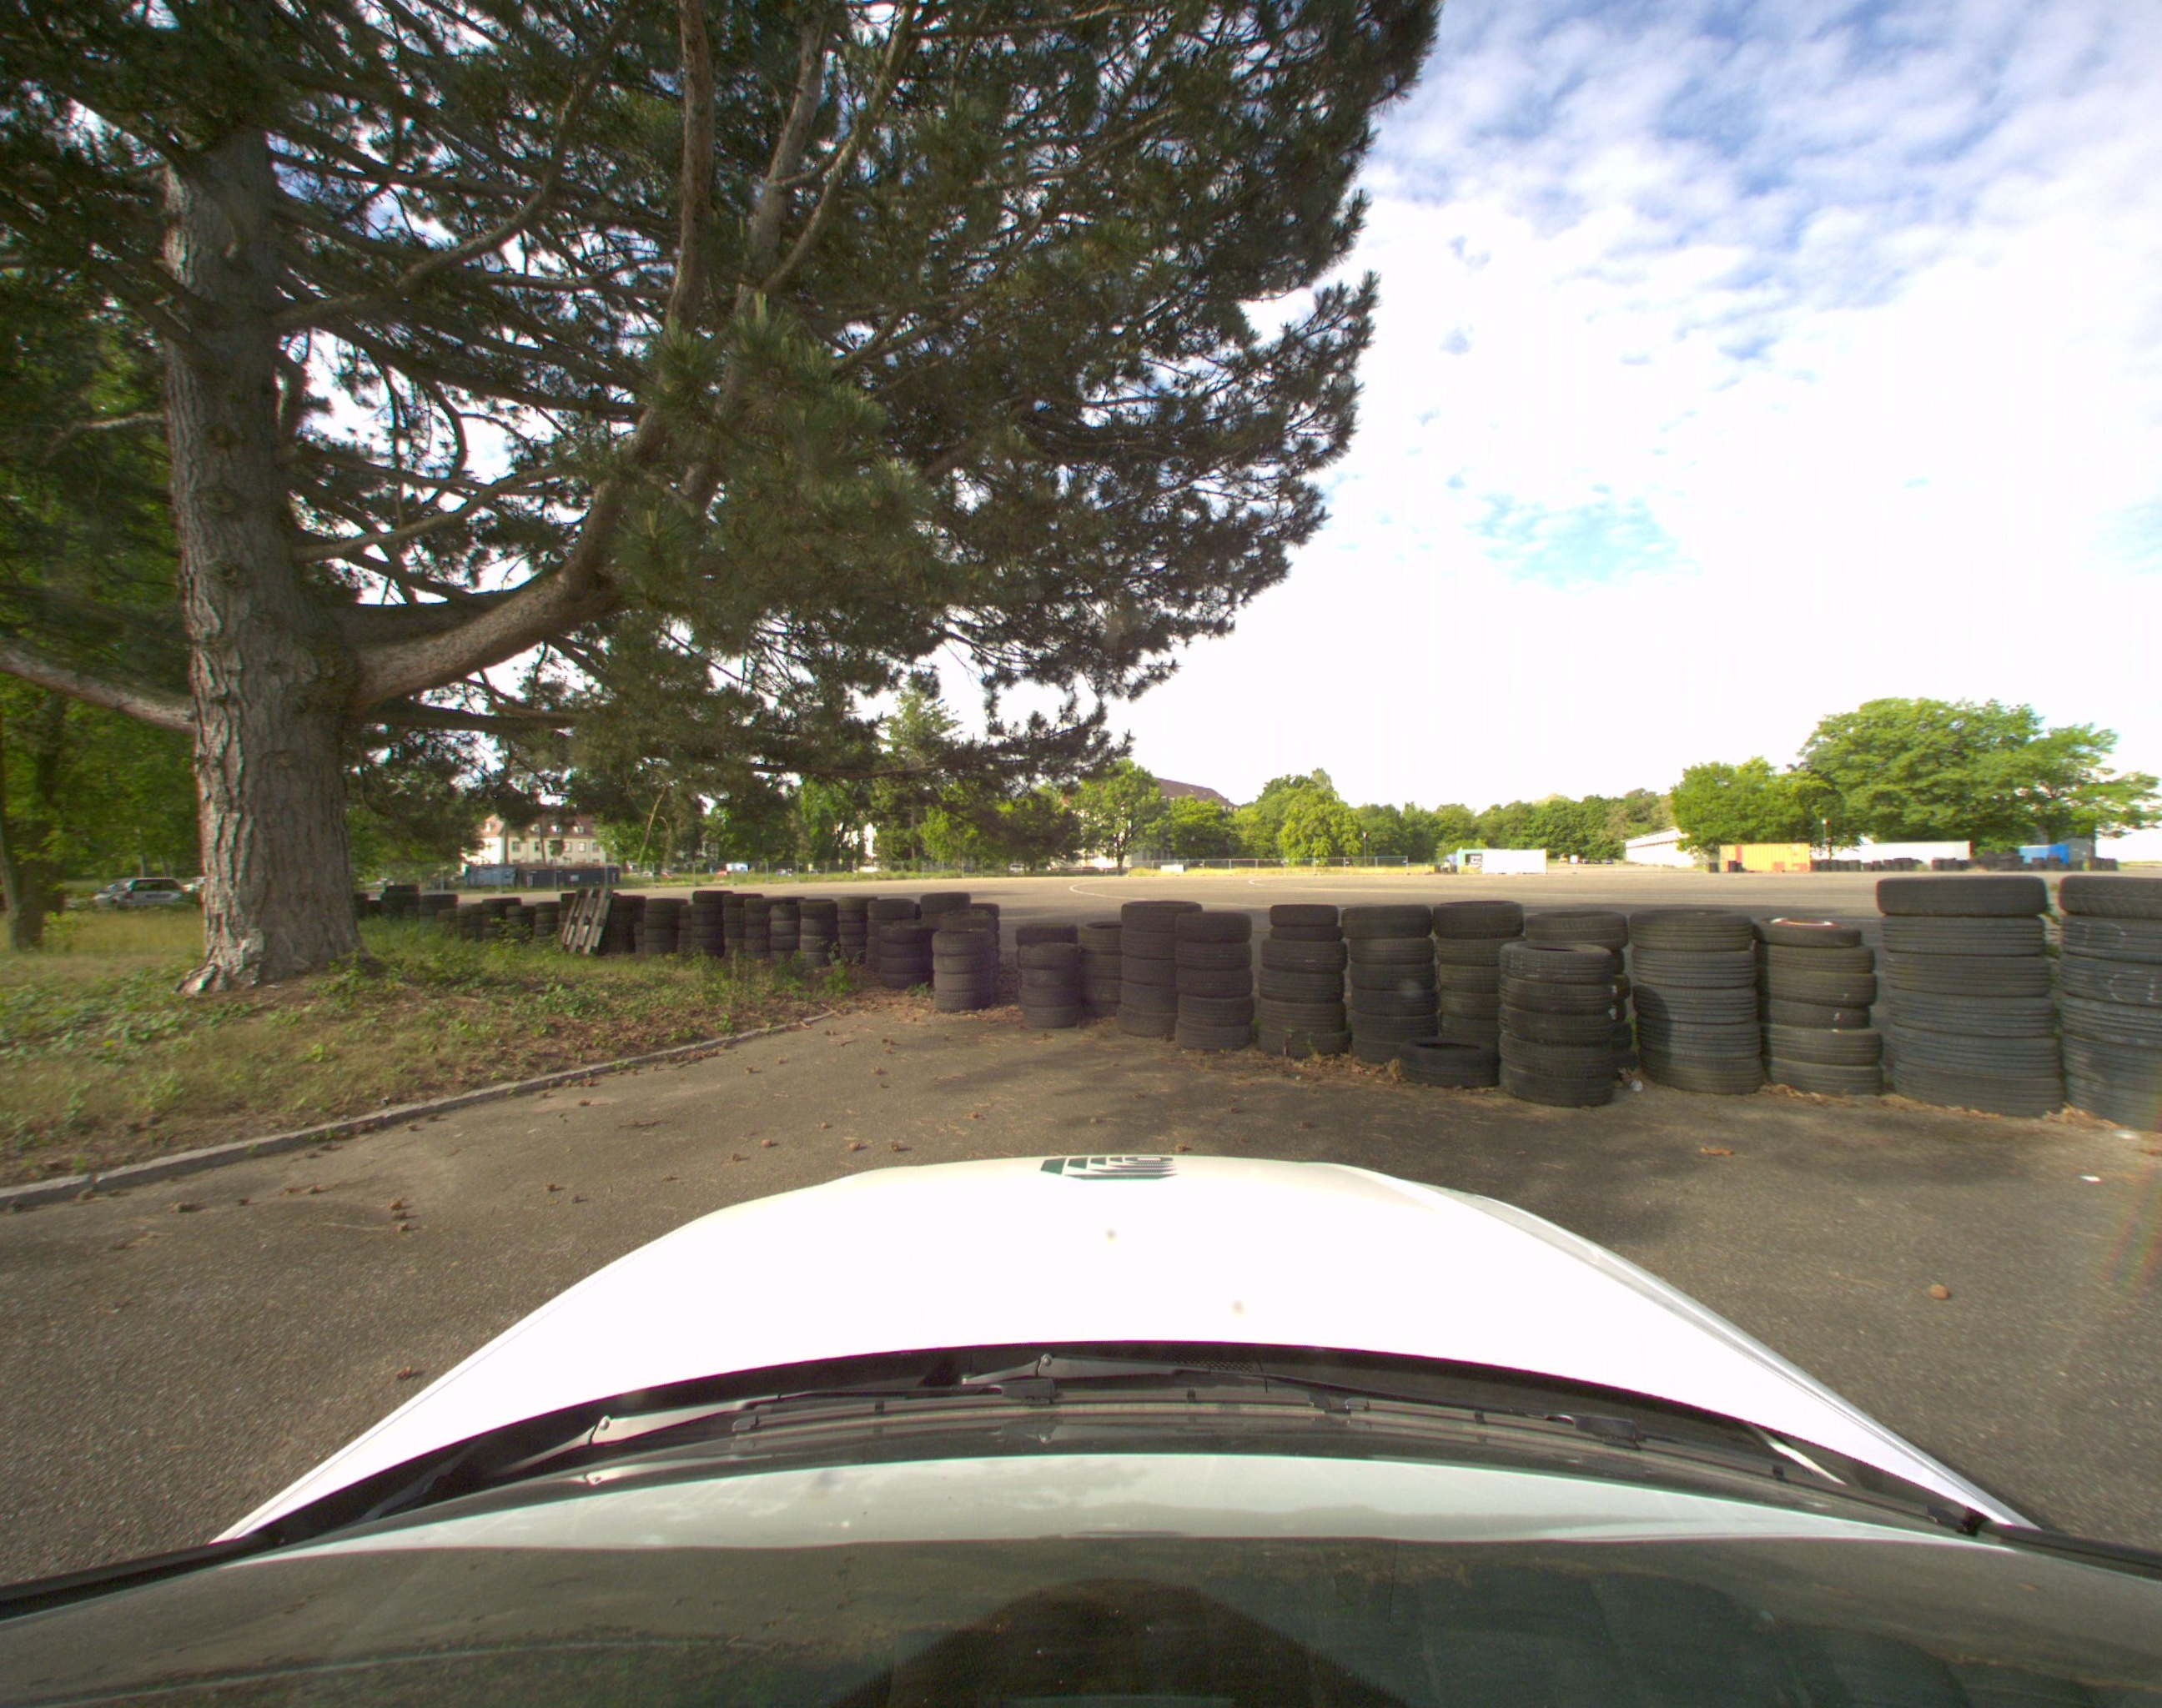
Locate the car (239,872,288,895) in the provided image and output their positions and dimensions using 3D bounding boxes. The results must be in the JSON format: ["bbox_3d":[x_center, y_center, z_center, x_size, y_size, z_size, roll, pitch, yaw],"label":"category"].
[{"bbox_3d":[-61.471,2.182,61.220,3.948,1.618,1.838,-1,-1,33],"label":"car"}]

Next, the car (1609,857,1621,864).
[{"bbox_3d":[135.760,1.563,207.013,1.975,1.750,4.024,-1,-1,27],"label":"car"}]

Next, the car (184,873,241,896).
[{"bbox_3d":[-62.649,2.185,58.753,3.948,1.618,2.012,-1,-1,31],"label":"car"}]

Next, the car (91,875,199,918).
[{"bbox_3d":[-35.984,1.608,31.297,3.949,1.541,1.904,-1,-1,29],"label":"car"}]

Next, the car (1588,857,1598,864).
[{"bbox_3d":[131.532,1.779,209.210,1.975,1.750,4.024,-1,-1,27],"label":"car"}]

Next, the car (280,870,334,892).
[{"bbox_3d":[-60.404,2.131,63.559,3.948,1.618,2.012,-1,-1,31],"label":"car"}]

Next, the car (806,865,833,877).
[{"bbox_3d":[-38.803,2.561,120.761,3.949,1.750,2.012,-1,-1,40],"label":"car"}]

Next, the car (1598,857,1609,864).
[{"bbox_3d":[133.577,1.707,208.258,2.012,1.808,4.024,-1,-1,27],"label":"car"}]
